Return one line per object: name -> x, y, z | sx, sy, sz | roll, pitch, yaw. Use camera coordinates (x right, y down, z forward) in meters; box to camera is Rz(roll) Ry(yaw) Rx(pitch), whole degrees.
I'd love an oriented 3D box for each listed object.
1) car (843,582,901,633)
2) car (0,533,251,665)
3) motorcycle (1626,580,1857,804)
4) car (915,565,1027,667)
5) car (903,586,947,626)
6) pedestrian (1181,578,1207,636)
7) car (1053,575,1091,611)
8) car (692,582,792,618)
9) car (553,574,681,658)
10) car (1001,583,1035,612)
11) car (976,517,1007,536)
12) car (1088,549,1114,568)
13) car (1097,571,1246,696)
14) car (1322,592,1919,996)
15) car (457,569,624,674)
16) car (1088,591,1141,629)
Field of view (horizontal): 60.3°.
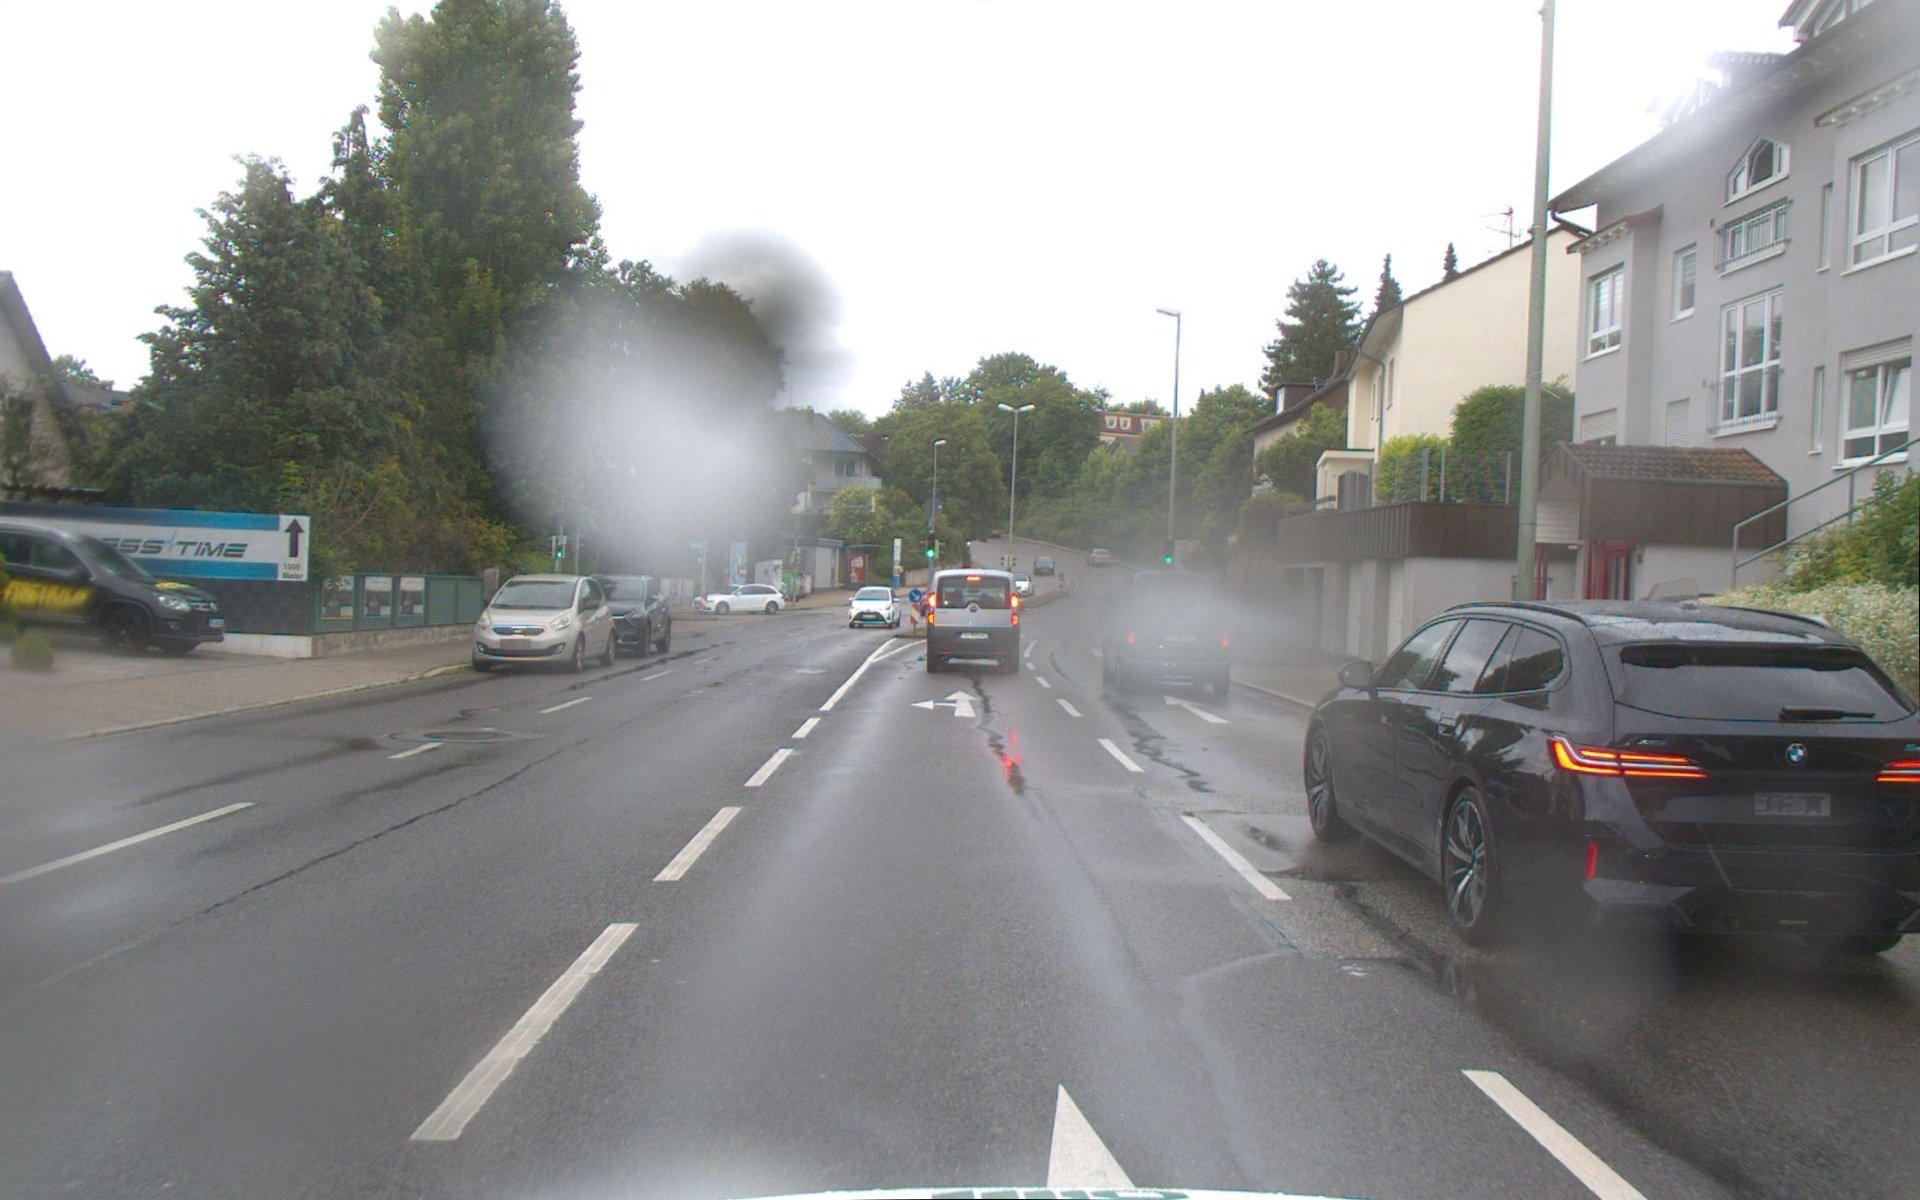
car -> -3.306, 0.269, 62.623 | 1.953, 1.803, 4.000 | 2, 0, -1
car -> -12.758, -0.060, 24.016 | 3.991, 1.542, 1.855 | 6, 0, -1
motorcycle -> 5.837, 0.630, 12.510 | 0.689, 1.536, 2.150 | -1, 0, -1
car -> 0.184, 0.285, 31.612 | 1.953, 1.768, 4.000 | 2, 0, 0
car -> -1.635, 0.263, 78.064 | 1.953, 1.803, 4.000 | 2, 0, -1
pedestrian -> 8.305, 0.243, 58.680 | 0.854, 2.049, 0.879 | 1, 0, 7
car -> 7.704, -0.500, 113.597 | 2.469, 2.048, 5.613 | 2, 3, 4
car -> -10.300, -0.006, 78.210 | 4.360, 1.574, 1.969 | 2, 0, -43
car -> -7.167, 0.311, 34.906 | 1.846, 1.612, 4.000 | 2, 0, -1
car -> 3.691, -0.178, 105.685 | 1.953, 1.803, 4.000 | 1, 0, -1
car -> 3.674, -8.567, 192.207 | 2.476, 2.048, 5.597 | 2, 3, -10
car -> 13.023, -3.786, 152.755 | 1.953, 1.612, 4.000 | 2, 0, -1
car -> 3.289, 0.486, 26.444 | 1.801, 1.798, 4.000 | 2, 0, 0
car -> 3.219, 0.749, 8.385 | 1.952, 1.509, 4.001 | 2, 0, 1
car -> -7.103, 0.337, 28.414 | 1.846, 1.612, 4.000 | 2, 0, -1
car -> 6.884, 0.440, 73.967 | 1.953, 1.606, 4.000 | 2, 0, -1
